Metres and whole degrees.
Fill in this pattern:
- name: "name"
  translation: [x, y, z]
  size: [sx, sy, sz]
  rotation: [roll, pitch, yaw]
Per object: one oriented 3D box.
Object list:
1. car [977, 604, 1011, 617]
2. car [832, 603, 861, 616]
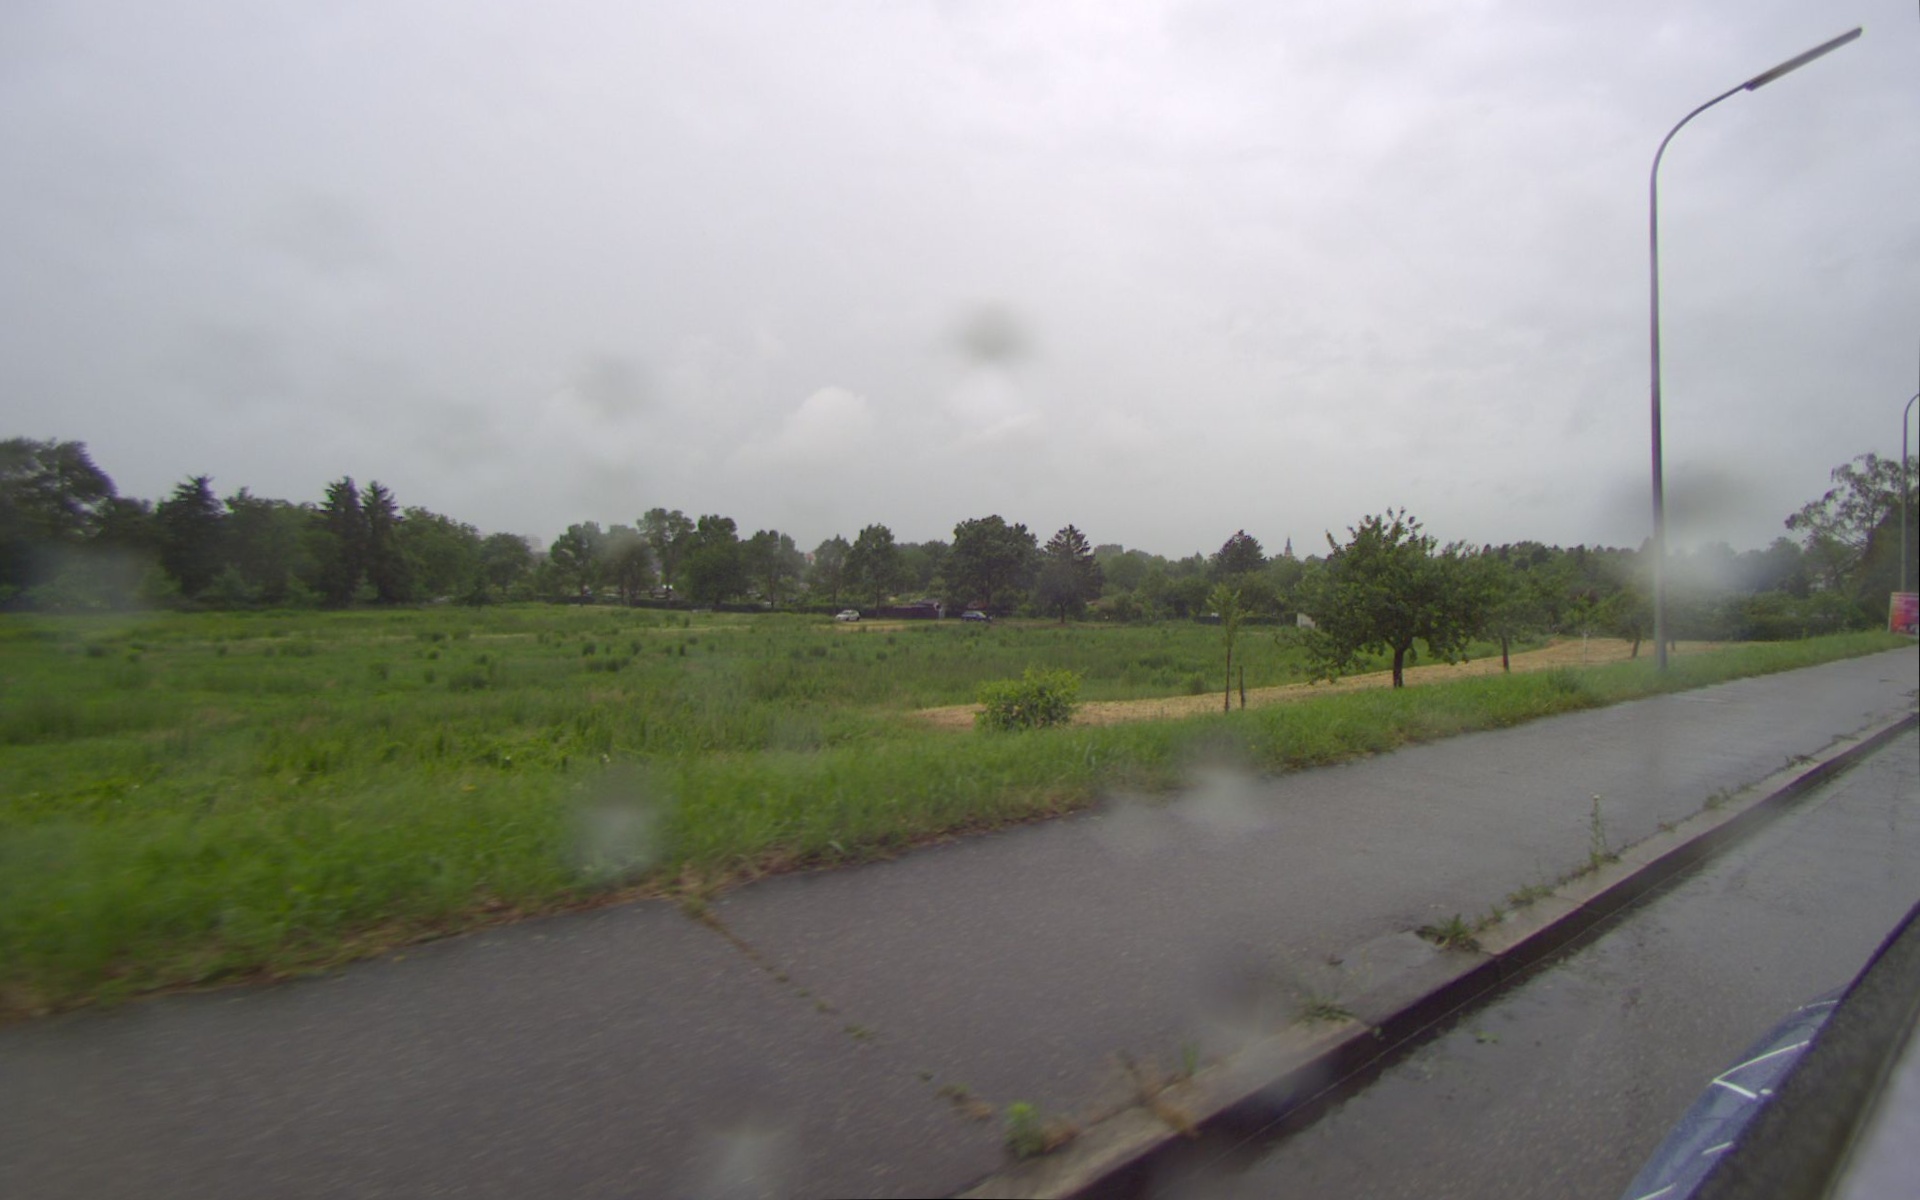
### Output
- name: "car"
  translation: [4.212, 1.300, 124.713]
  size: [3.984, 1.529, 1.773]
  rotation: [1, 1, 42]
- name: "car"
  translation: [-14.868, 1.241, 133.029]
  size: [1.785, 1.529, 4.121]
  rotation: [-1, 0, 30]
